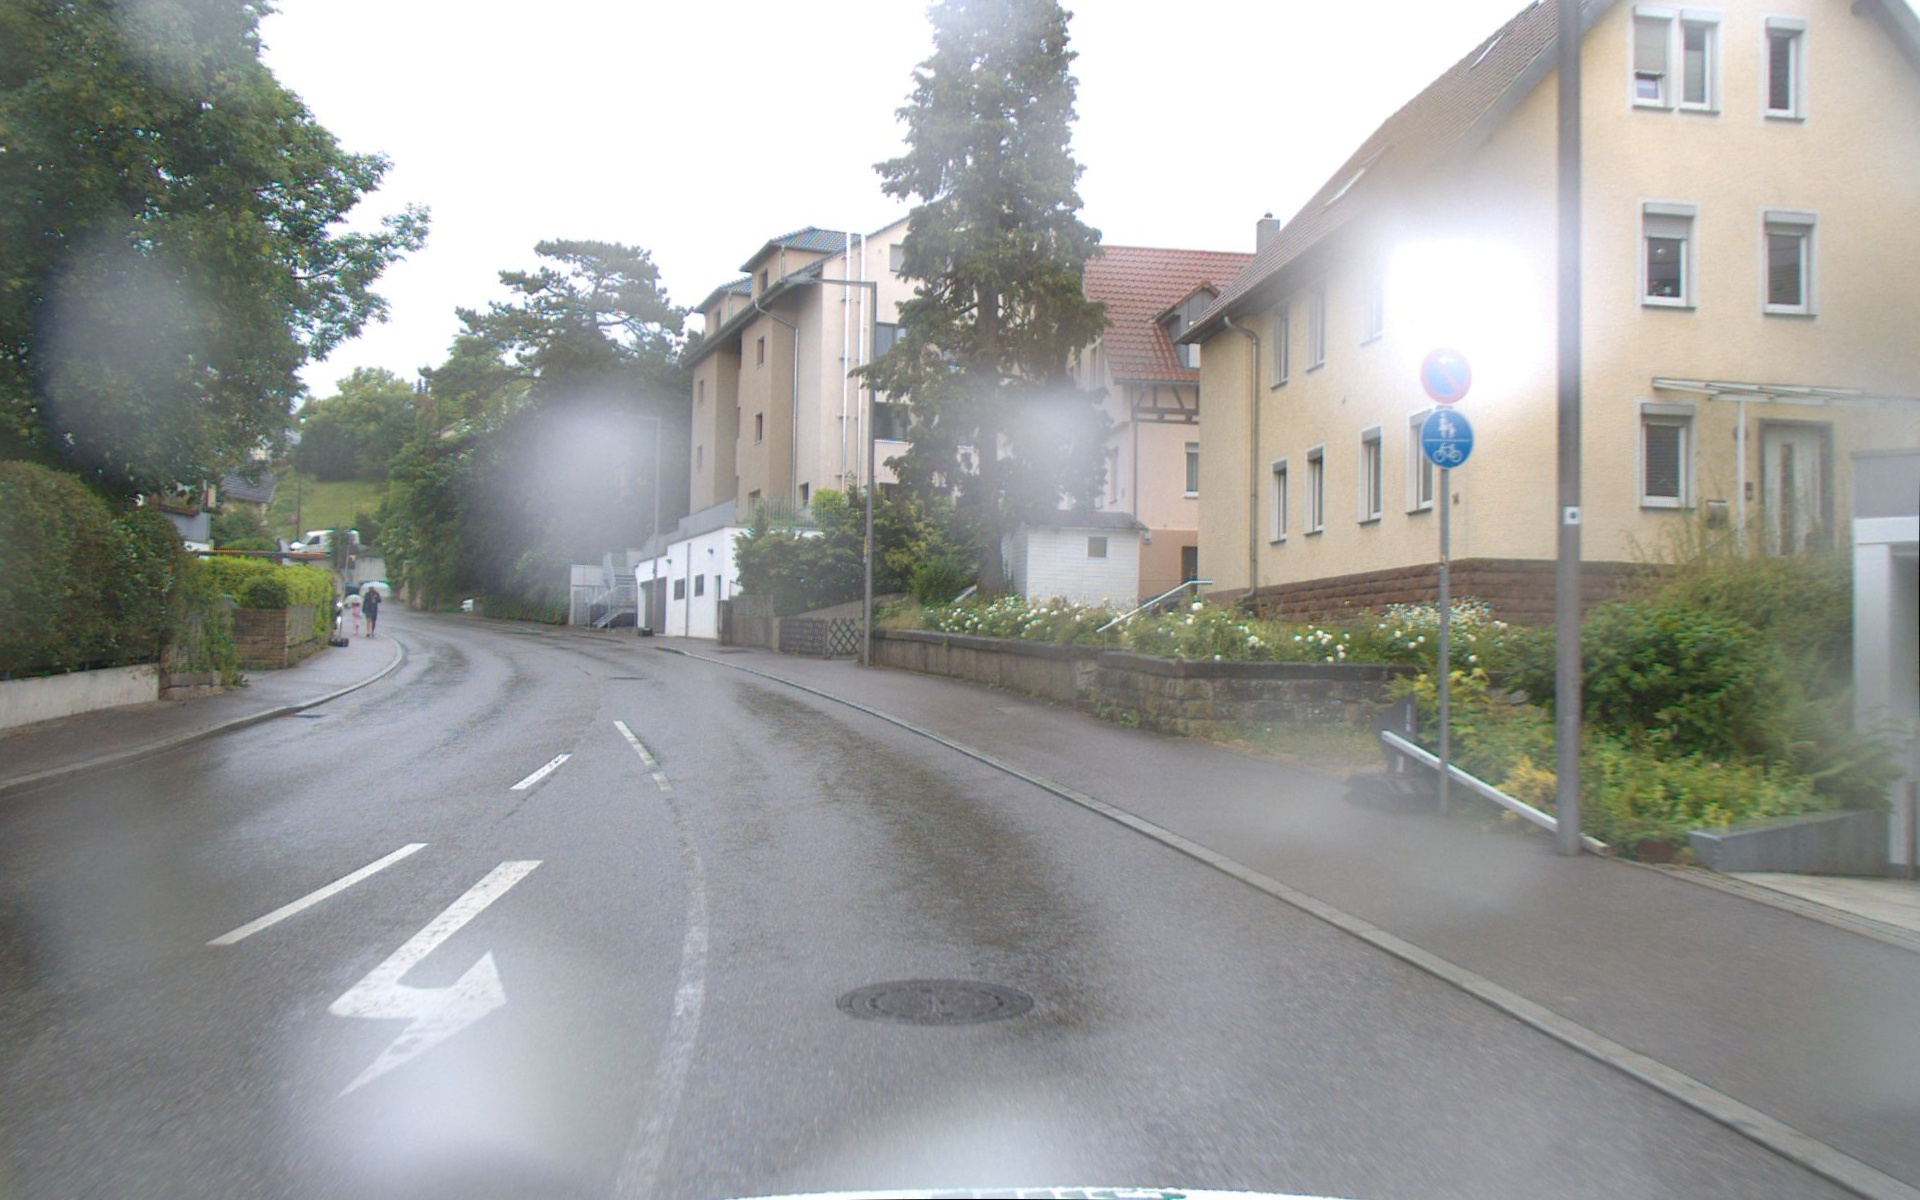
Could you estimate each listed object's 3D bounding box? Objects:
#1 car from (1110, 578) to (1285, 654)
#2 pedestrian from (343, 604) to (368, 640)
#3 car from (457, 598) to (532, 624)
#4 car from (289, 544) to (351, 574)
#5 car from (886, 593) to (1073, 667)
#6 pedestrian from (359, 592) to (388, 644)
[{"bbox_3d":[5.763,0.375,40.408,3.784,1.682,1.958,-2,0,-11],"label":"car"},{"bbox_3d":[-20.919,0.753,57.254,0.745,1.200,1.033,4,-2,-20],"label":"pedestrian"},{"bbox_3d":[-28.172,0.652,100.105,4.098,1.502,1.886,0,1,-30],"label":"car"},{"bbox_3d":[-56.592,-3.583,146.294,4.897,2.614,1.883,-1,1,-33],"label":"car"},{"bbox_3d":[0.431,0.708,39.520,4.236,1.682,1.960,0,0,-8],"label":"car"},{"bbox_3d":[-19.912,0.594,56.156,0.745,1.672,1.033,7,-3,-20],"label":"pedestrian"}]
